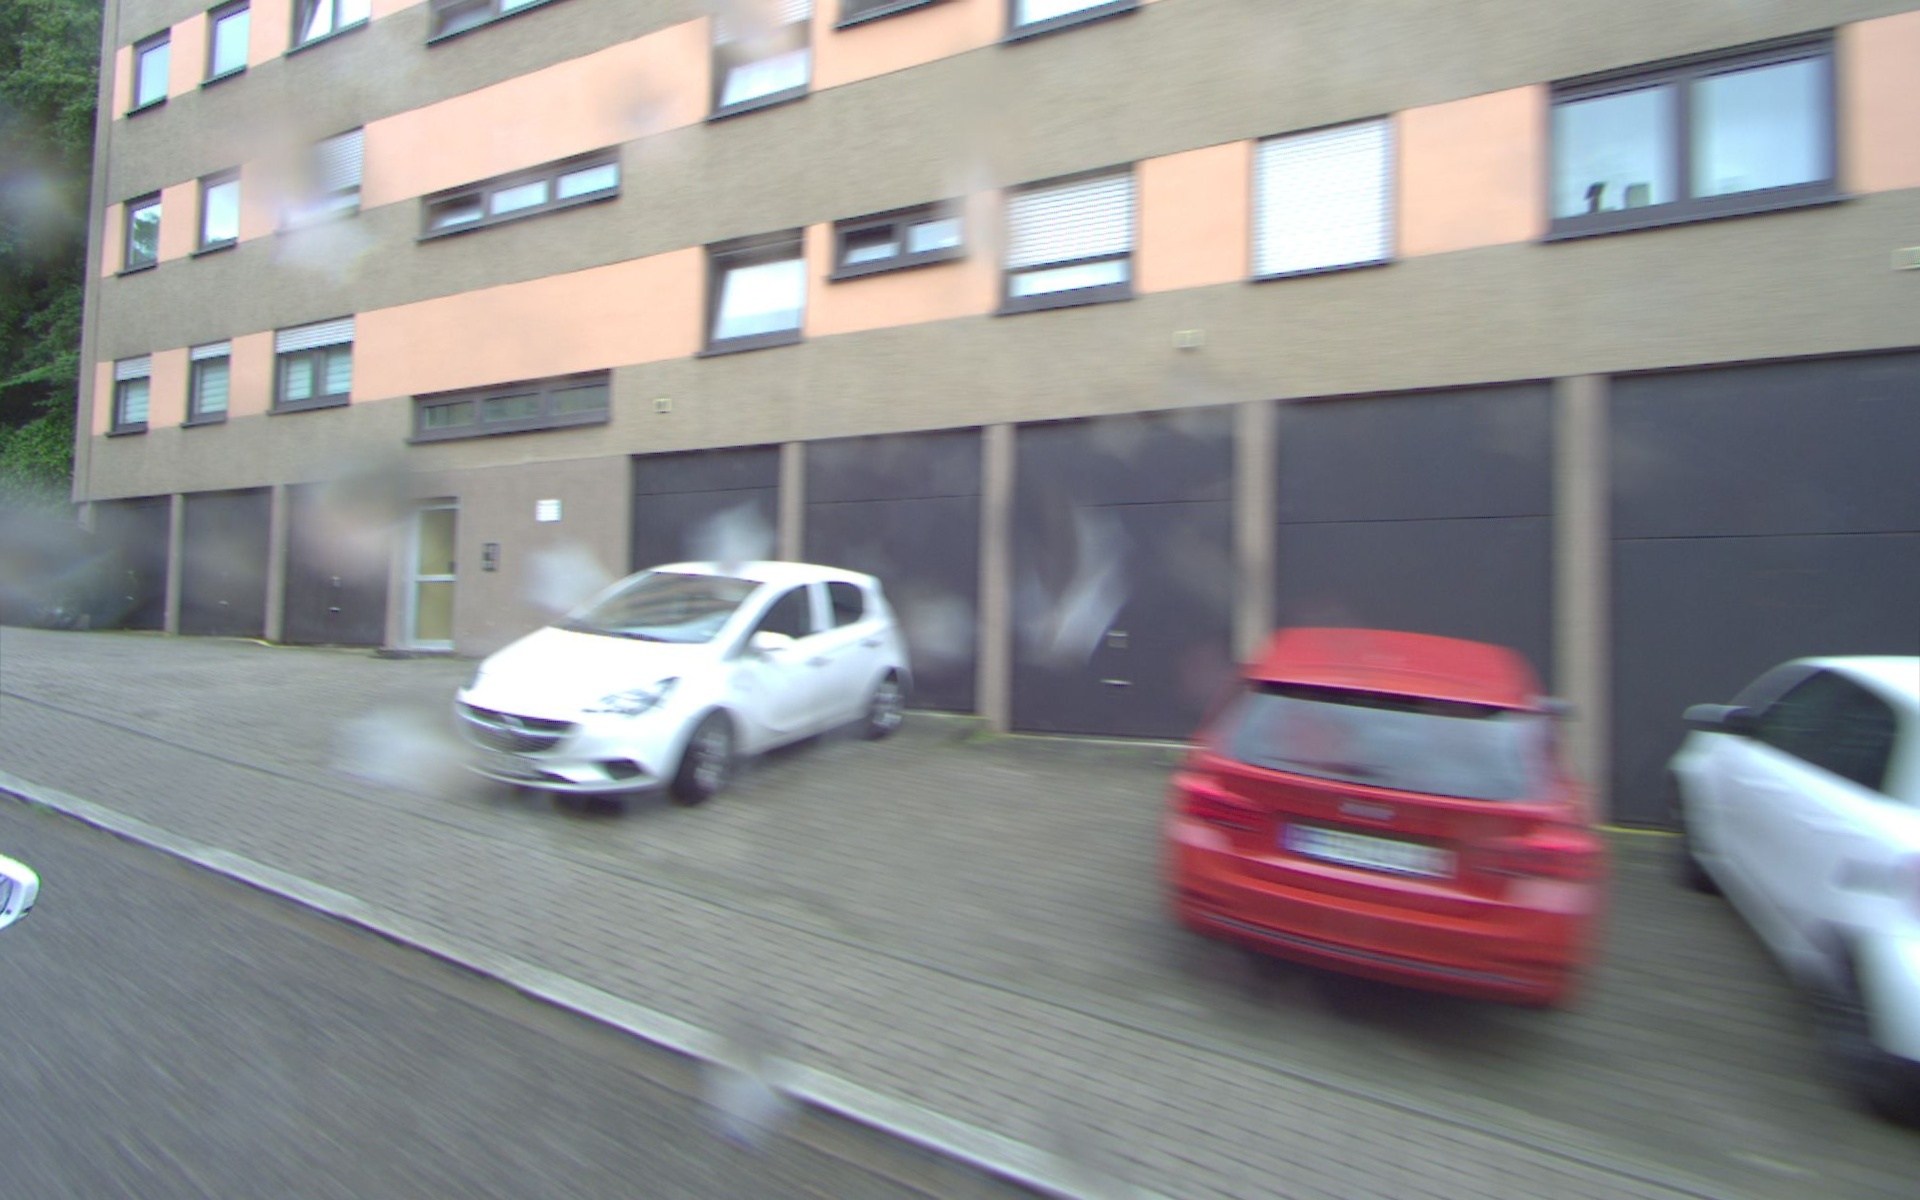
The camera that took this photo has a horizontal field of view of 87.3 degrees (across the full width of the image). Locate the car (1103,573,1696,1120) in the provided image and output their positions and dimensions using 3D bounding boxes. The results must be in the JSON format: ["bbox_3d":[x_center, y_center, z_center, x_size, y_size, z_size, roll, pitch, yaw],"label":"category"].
[{"bbox_3d":[2.393,0.771,5.666,1.843,1.553,4.340,7,6,25],"label":"car"}]

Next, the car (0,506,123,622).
[{"bbox_3d":[-14.630,-0.727,13.945,1.728,1.512,4.216,7,-4,24],"label":"car"}]

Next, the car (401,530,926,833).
[{"bbox_3d":[-1.876,0.372,7.653,1.661,1.552,3.965,6,4,22],"label":"car"}]

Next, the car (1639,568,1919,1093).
[{"bbox_3d":[4.731,0.810,4.777,1.697,1.727,3.827,7,5,24],"label":"car"}]
